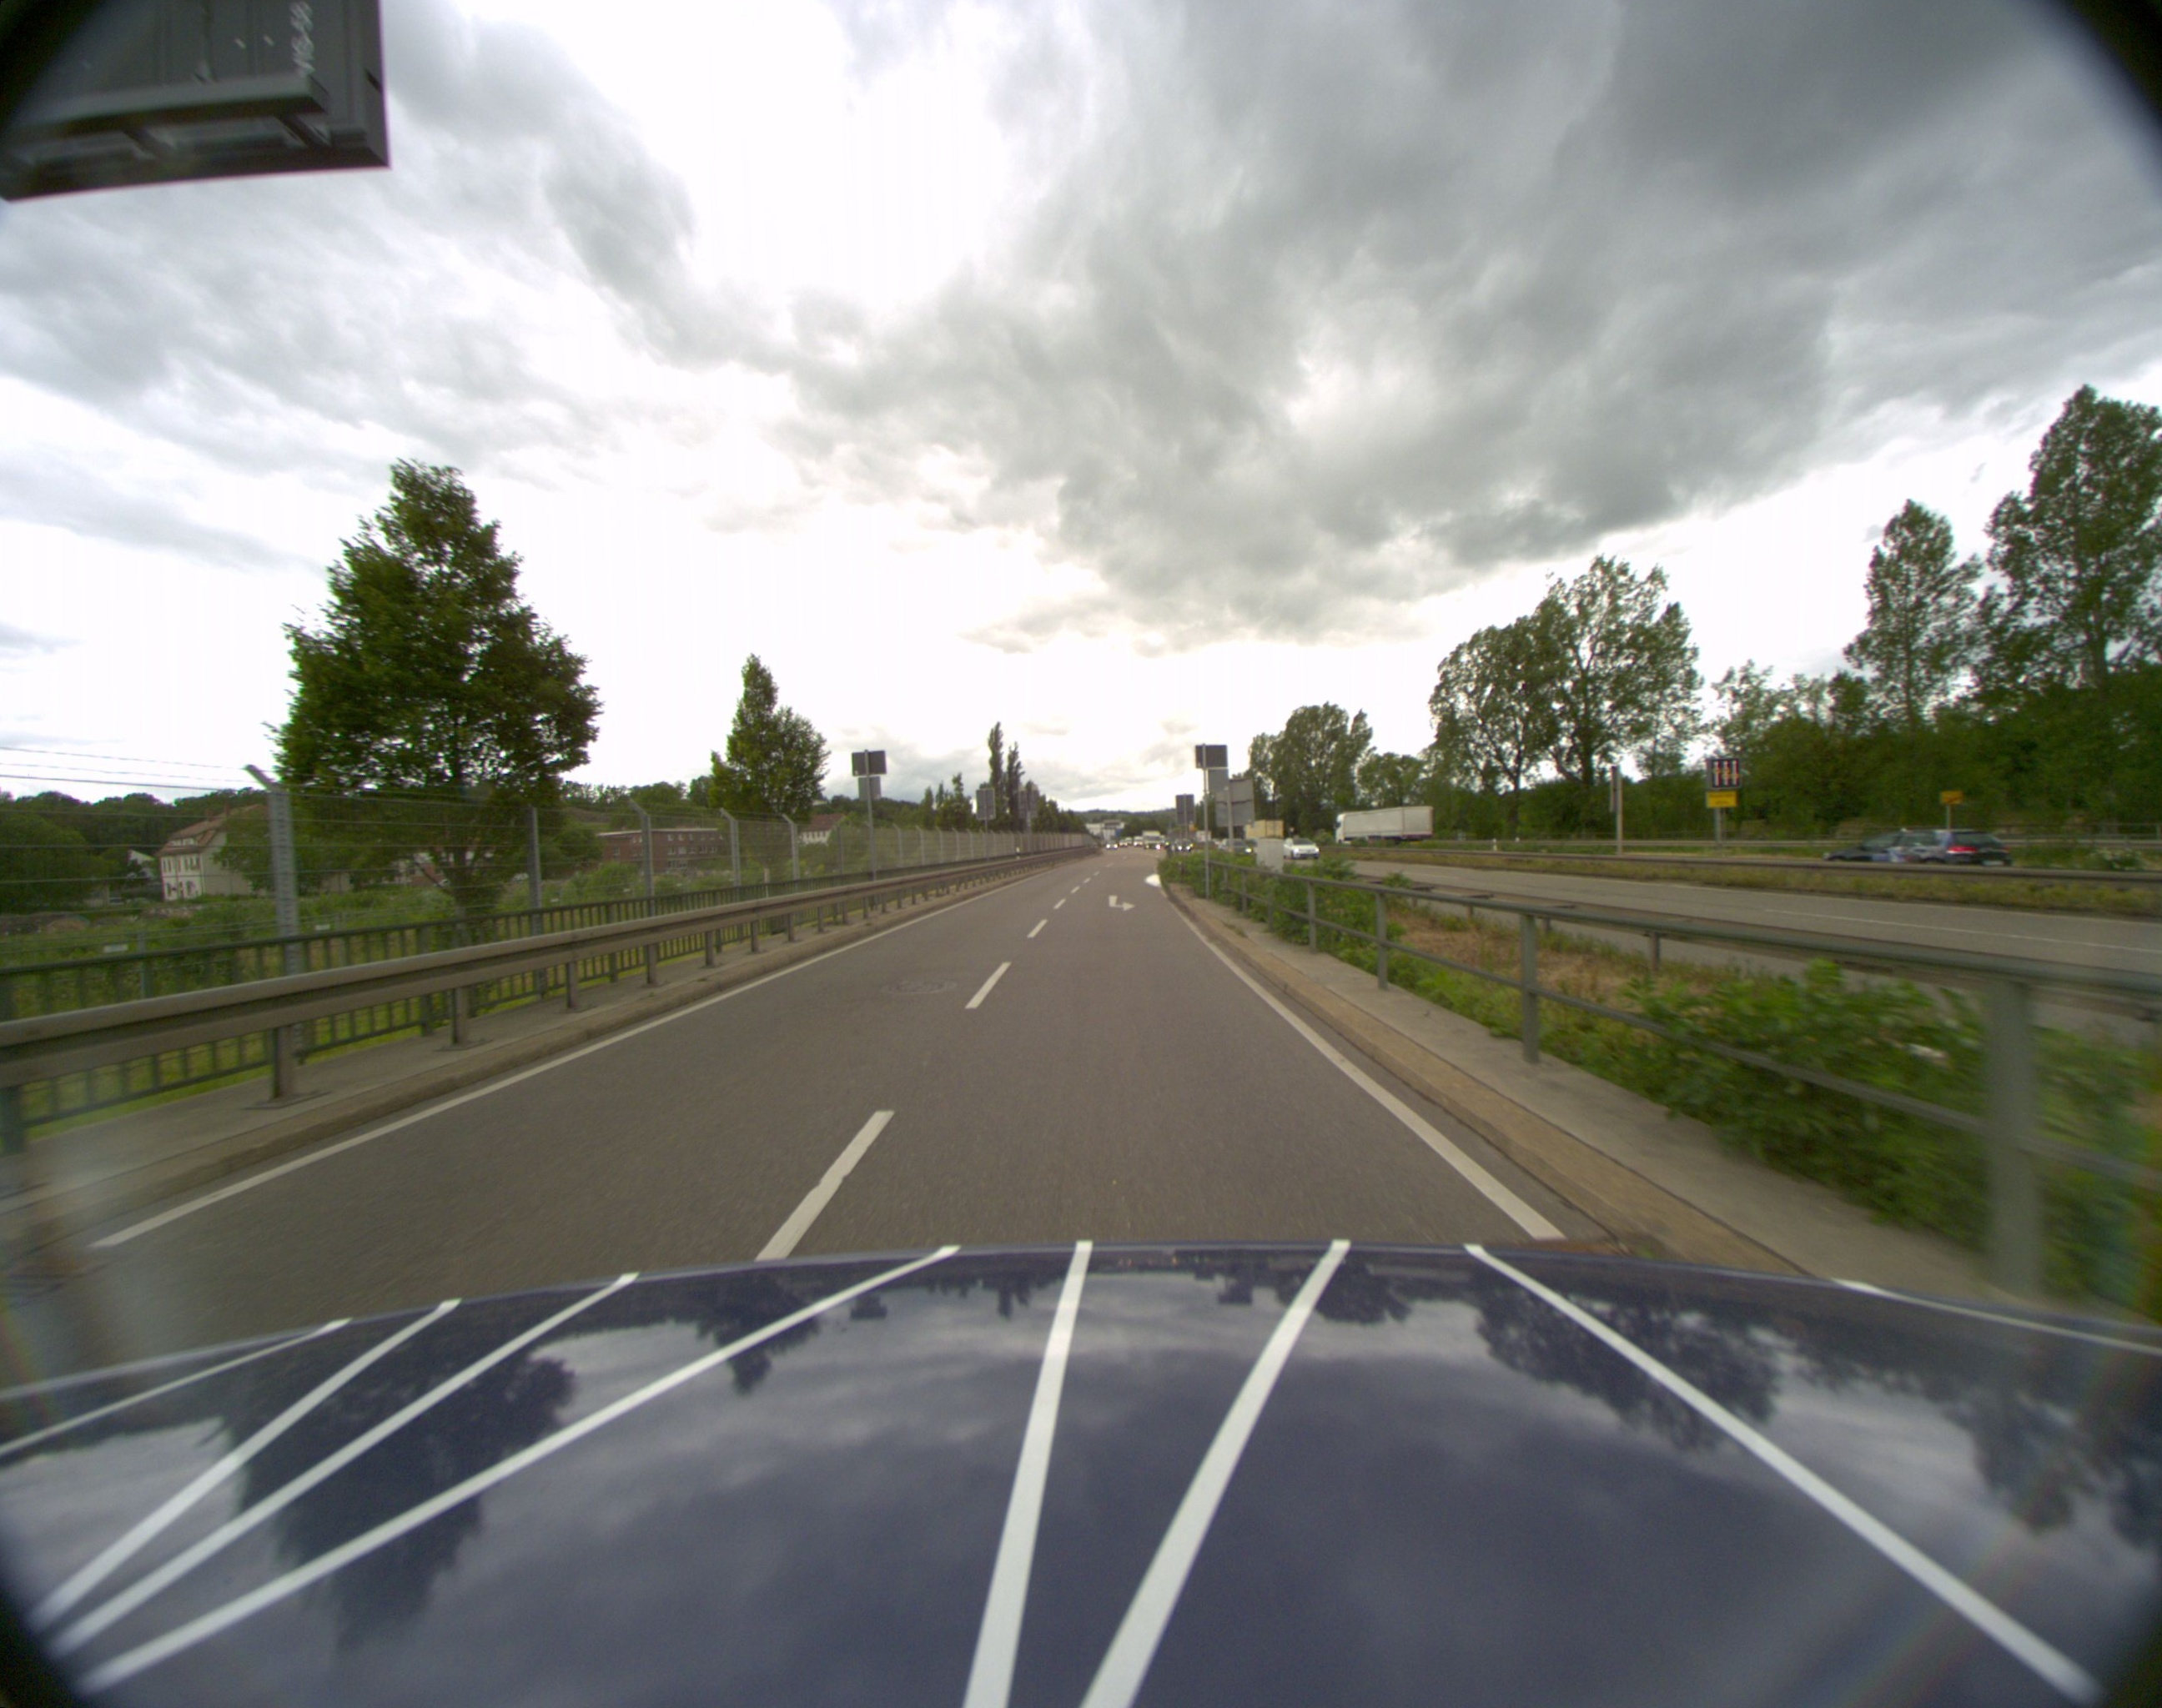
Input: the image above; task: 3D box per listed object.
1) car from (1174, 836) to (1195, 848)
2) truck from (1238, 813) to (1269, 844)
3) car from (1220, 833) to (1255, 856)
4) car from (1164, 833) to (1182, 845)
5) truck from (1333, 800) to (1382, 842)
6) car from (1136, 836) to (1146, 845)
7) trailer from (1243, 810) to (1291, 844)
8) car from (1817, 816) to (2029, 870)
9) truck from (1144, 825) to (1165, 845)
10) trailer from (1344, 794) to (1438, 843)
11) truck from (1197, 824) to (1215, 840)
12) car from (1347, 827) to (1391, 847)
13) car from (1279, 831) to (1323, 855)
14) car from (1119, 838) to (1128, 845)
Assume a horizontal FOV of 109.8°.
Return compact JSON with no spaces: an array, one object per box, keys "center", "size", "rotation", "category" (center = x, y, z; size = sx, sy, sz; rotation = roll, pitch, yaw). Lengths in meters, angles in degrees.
[{"center":[11.458,-1.320,84.168],"size":[1.728,1.319,3.647],"rotation":[-2,1,-1],"category":"car"},{"center":[28.297,-4.138,124.875],"size":[3.472,4.646,6.209],"rotation":[-3,1,-1],"category":"truck"},{"center":[11.071,-0.656,53.952],"size":[1.939,1.492,4.305],"rotation":[-1,0,6],"category":"car"},{"center":[15.956,-2.642,132.244],"size":[2.099,2.002,5.336],"rotation":[-2,2,-3],"category":"car"},{"center":[27.839,-3.273,76.622],"size":[2.797,3.915,5.311],"rotation":[-3,2,0],"category":"truck"},{"center":[15.027,-3.332,190.447],"size":[1.999,2.002,3.999],"rotation":[-2,1,-1],"category":"car"},{"center":[28.402,-4.006,116.929],"size":[3.472,4.646,14.778],"rotation":[-3,1,-1],"category":"trailer"},{"center":[25.159,-0.322,22.957],"size":[1.998,1.427,3.999],"rotation":[-2,1,0],"category":"car"},{"center":[12.499,-3.264,129.319],"size":[3.039,3.141,7.567],"rotation":[-1,2,2],"category":"truck"},{"center":[27.881,-3.097,69.369],"size":[2.797,3.927,13.508],"rotation":[-3,1,0],"category":"trailer"},{"center":[31.329,-5.548,190.730],"size":[2.991,3.623,6.334],"rotation":[-4,1,-3],"category":"truck"},{"center":[23.952,-1.438,63.431],"size":[1.999,1.513,3.998],"rotation":[-4,2,-2],"category":"car"},{"center":[15.104,-0.749,52.296],"size":[1.859,1.491,3.999],"rotation":[-2,1,0],"category":"car"},{"center":[10.592,-3.211,190.352],"size":[1.999,1.711,3.999],"rotation":[-2,1,-1],"category":"car"}]
